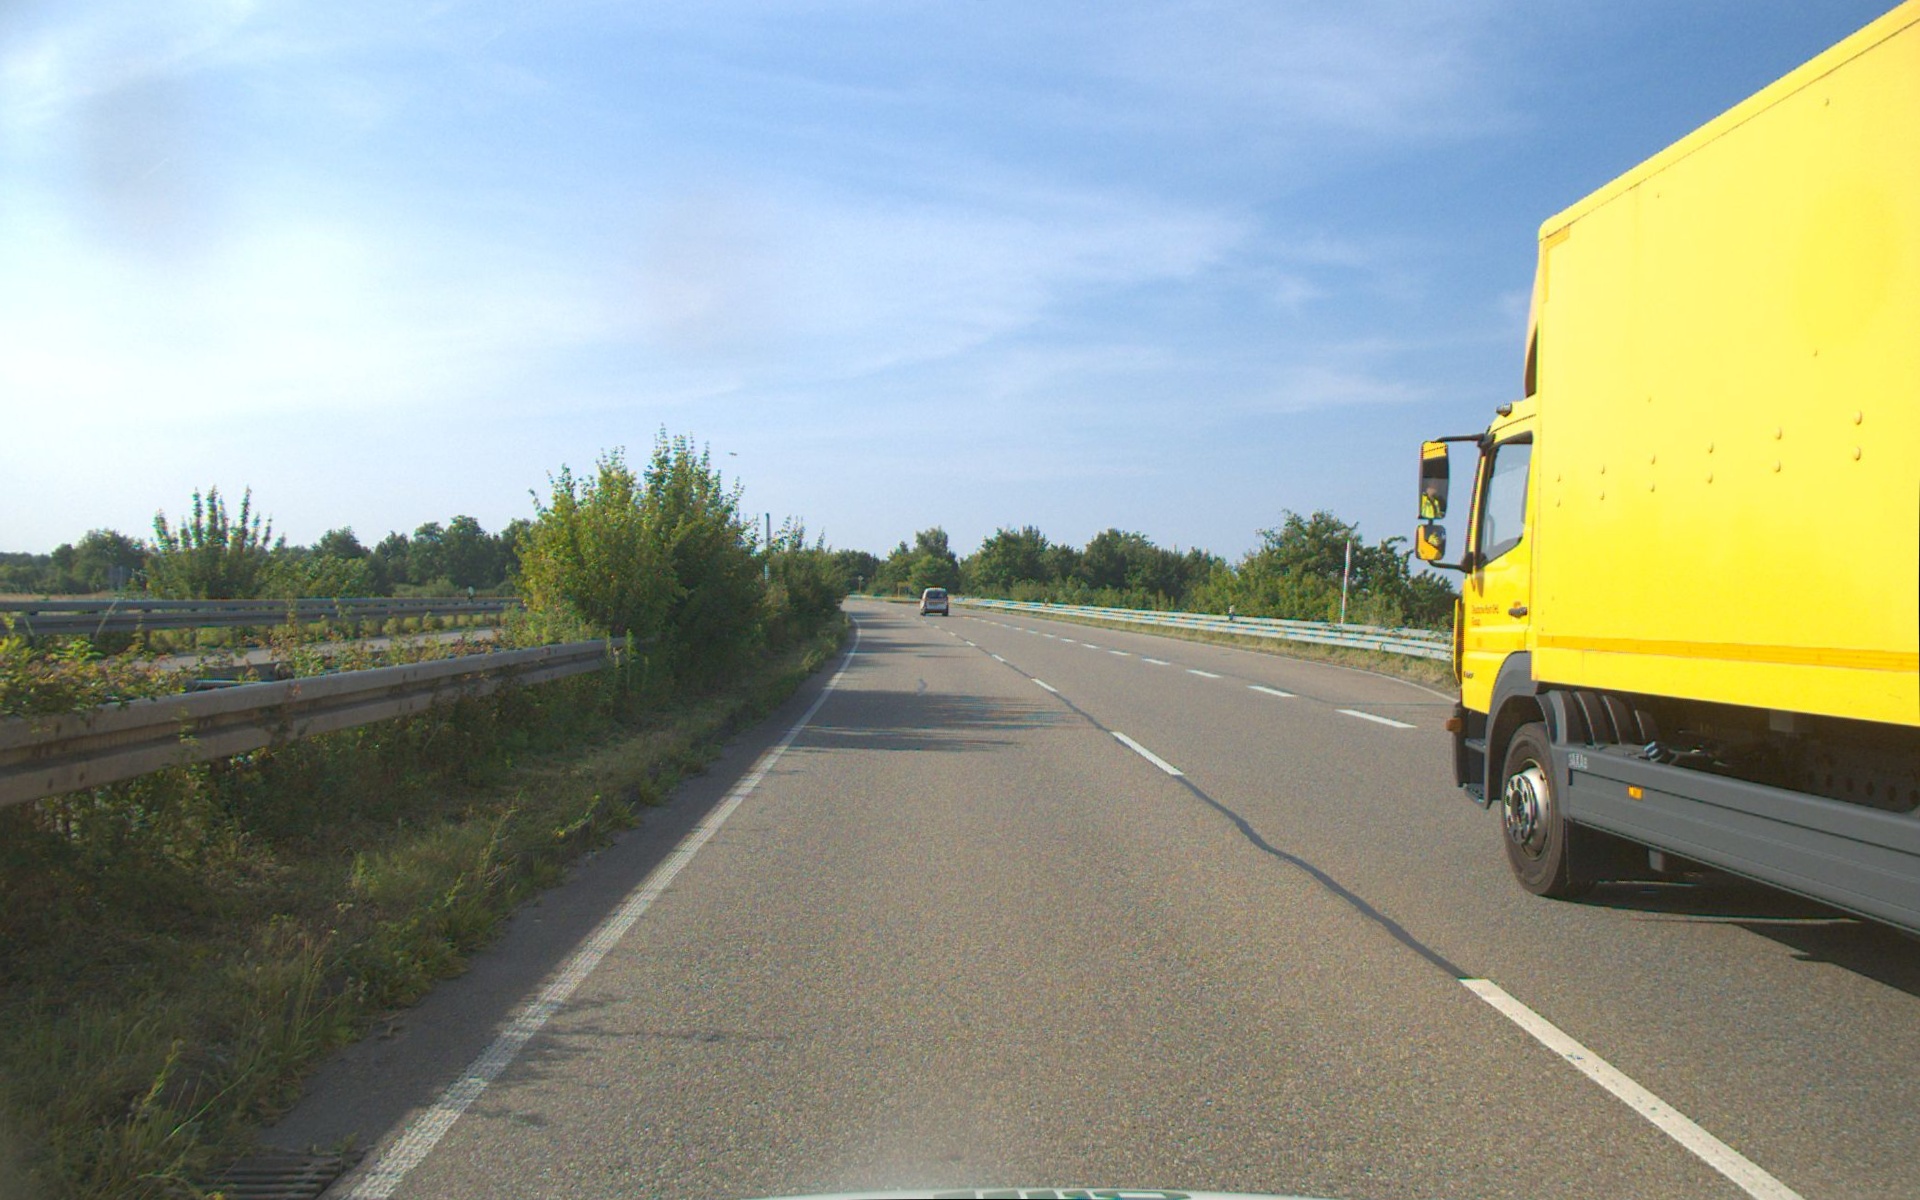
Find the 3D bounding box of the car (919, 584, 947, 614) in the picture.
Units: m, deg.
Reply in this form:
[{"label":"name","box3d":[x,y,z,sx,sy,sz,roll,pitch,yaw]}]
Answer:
[{"label":"car","box3d":[-1.781,-0.030,109.165,1.730,1.915,3.998,0,-1,-2]}]

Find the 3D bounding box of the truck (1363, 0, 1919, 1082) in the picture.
[{"label":"truck","box3d":[4.269,-0.223,6.286,2.722,3.374,10.487,0,0,-1]}]
